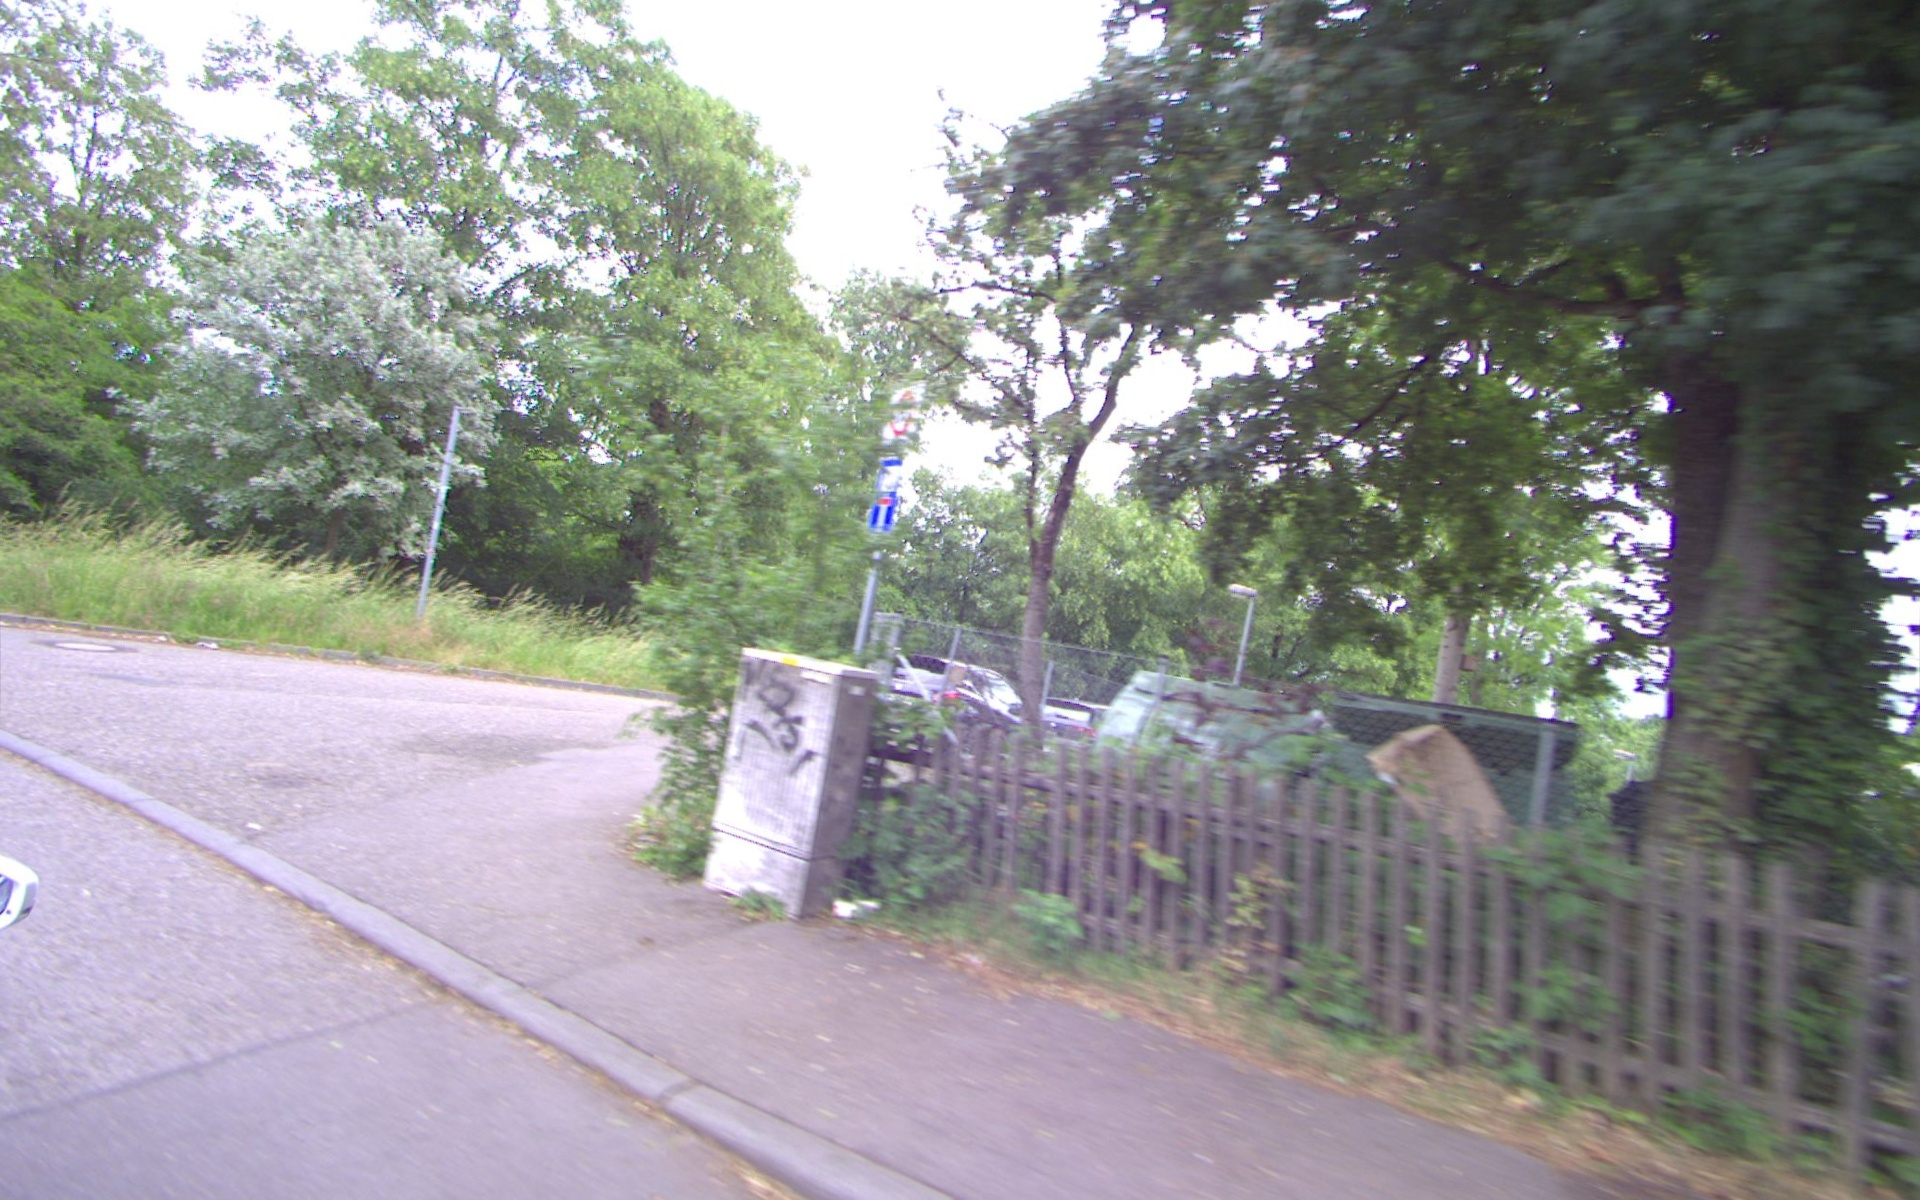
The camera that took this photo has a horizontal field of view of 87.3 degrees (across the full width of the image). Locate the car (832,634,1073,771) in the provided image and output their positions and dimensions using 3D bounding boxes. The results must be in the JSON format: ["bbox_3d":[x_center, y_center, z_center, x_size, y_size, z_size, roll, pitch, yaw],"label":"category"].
[{"bbox_3d":[0.021,1.600,14.997,1.801,1.411,3.677,7,-7,31],"label":"car"}]

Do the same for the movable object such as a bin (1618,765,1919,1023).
[{"bbox_3d":[8.114,2.720,10.023,2.176,1.733,2.492,7,-2,40],"label":"movable object such as a bin"}]

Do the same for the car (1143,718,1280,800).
[{"bbox_3d":[5.863,3.698,23.230,1.529,1.340,3.596,6,-8,40],"label":"car"}]

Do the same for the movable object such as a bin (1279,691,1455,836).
[{"bbox_3d":[5.729,2.230,14.011,1.425,1.565,2.890,8,-2,37],"label":"movable object such as a bin"}]

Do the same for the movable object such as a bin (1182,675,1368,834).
[{"bbox_3d":[3.918,1.879,12.495,1.650,1.565,1.422,8,-1,37],"label":"movable object such as a bin"}]

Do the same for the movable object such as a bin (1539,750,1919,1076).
[{"bbox_3d":[6.338,2.351,8.319,2.176,1.807,2.103,7,-2,40],"label":"movable object such as a bin"}]
